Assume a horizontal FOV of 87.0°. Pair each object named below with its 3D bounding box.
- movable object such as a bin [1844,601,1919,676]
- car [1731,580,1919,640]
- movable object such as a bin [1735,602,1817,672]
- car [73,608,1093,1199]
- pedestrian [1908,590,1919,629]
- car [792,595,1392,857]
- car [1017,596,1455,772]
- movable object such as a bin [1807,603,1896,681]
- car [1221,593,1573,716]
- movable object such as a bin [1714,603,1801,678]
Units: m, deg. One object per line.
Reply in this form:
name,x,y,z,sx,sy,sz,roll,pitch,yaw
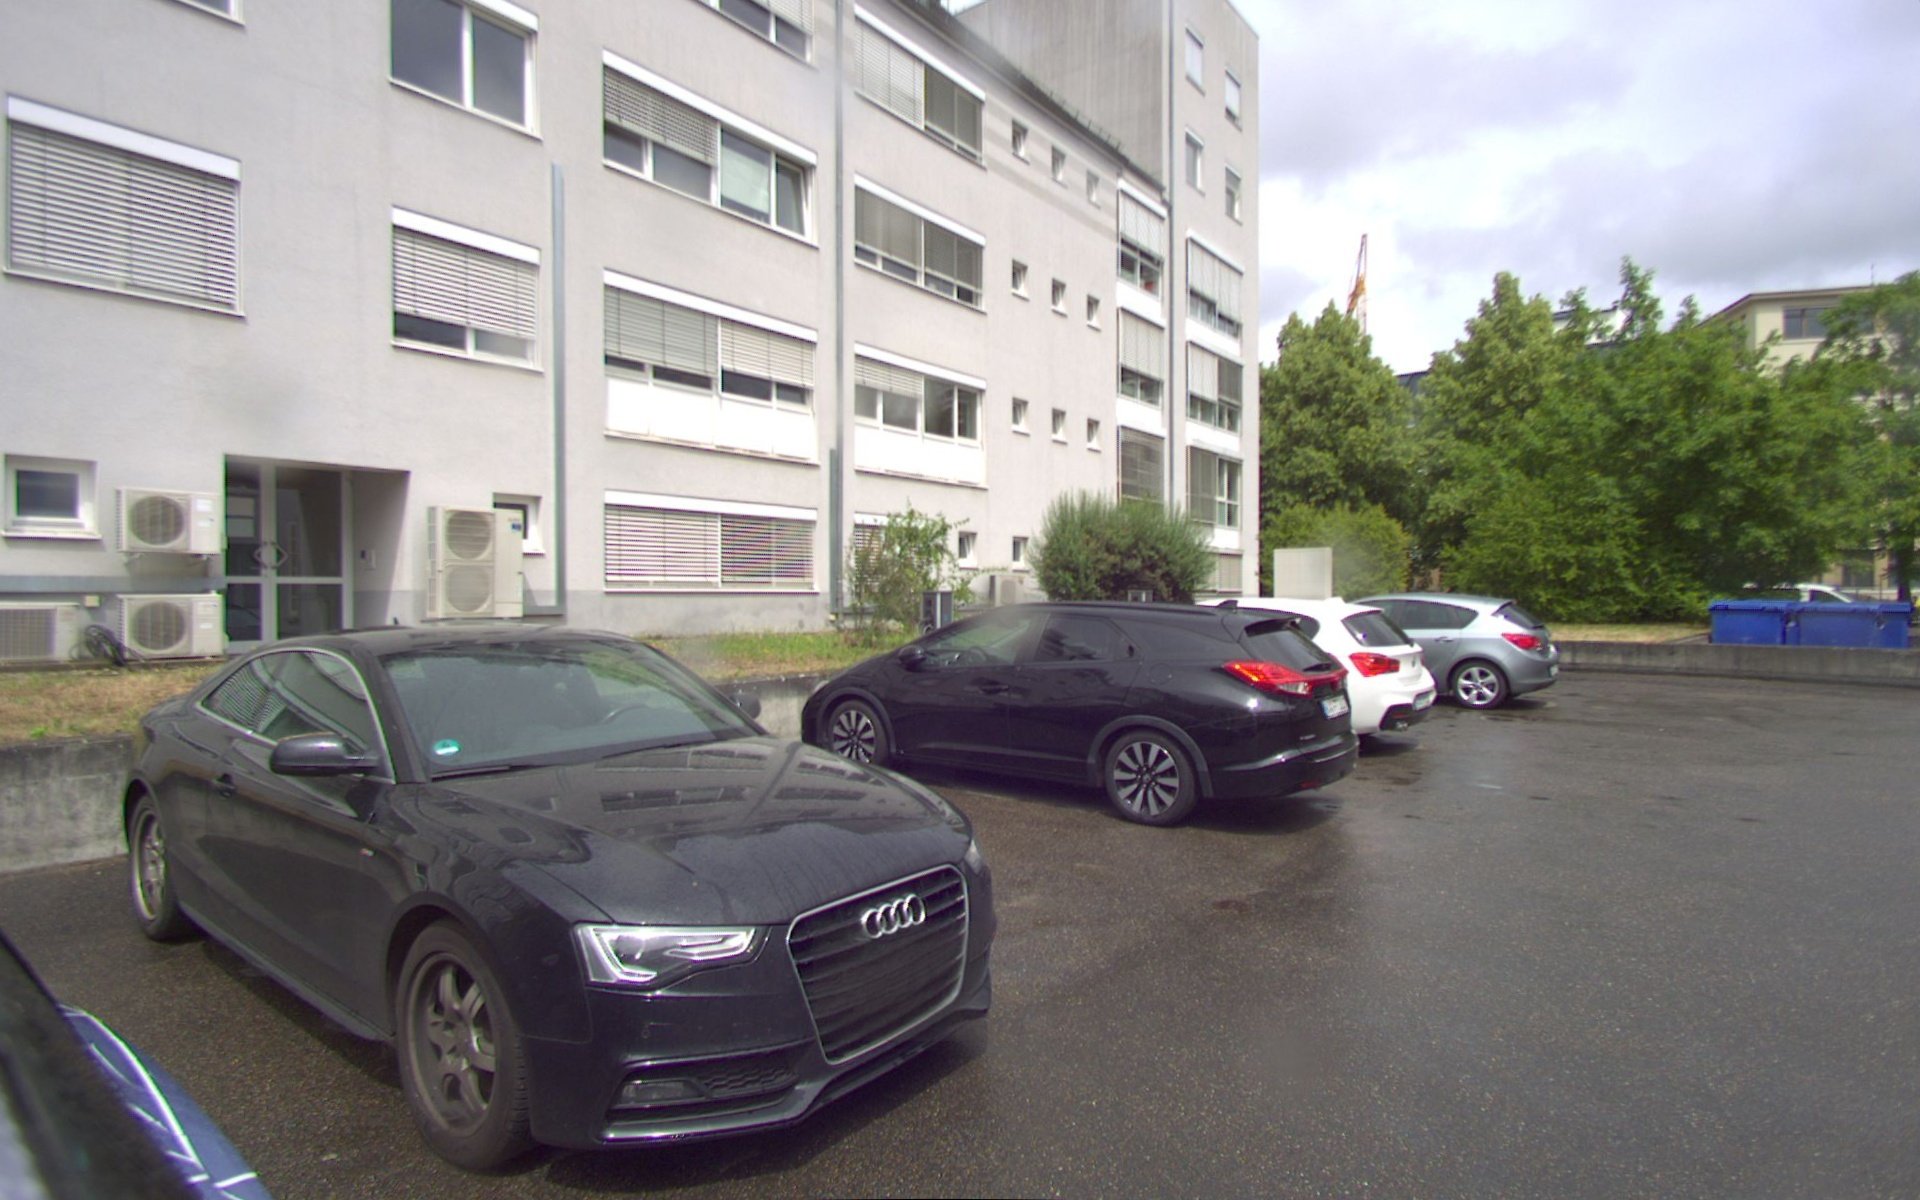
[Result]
movable object such as a bin,17.644,0.710,19.253,1.190,1.338,1.132,-1,0,-44
car,26.799,0.299,31.391,1.696,1.740,4.340,-1,0,-42
movable object such as a bin,16.391,0.724,20.336,1.190,1.338,1.132,-1,0,-44
car,-1.864,0.765,4.056,4.523,1.362,1.741,1,1,38
pedestrian,45.094,0.437,47.424,0.859,1.827,0.853,-1,0,38
car,0.837,0.712,7.787,4.308,1.453,1.741,1,1,37
car,2.757,0.716,10.605,4.120,1.453,1.674,1,1,39
movable object such as a bin,16.116,0.738,18.297,1.190,1.335,1.096,-1,0,-44
car,6.092,0.652,14.356,4.309,1.453,1.741,1,1,37
movable object such as a bin,15.158,0.749,19.235,1.190,1.338,1.132,-1,0,-44
